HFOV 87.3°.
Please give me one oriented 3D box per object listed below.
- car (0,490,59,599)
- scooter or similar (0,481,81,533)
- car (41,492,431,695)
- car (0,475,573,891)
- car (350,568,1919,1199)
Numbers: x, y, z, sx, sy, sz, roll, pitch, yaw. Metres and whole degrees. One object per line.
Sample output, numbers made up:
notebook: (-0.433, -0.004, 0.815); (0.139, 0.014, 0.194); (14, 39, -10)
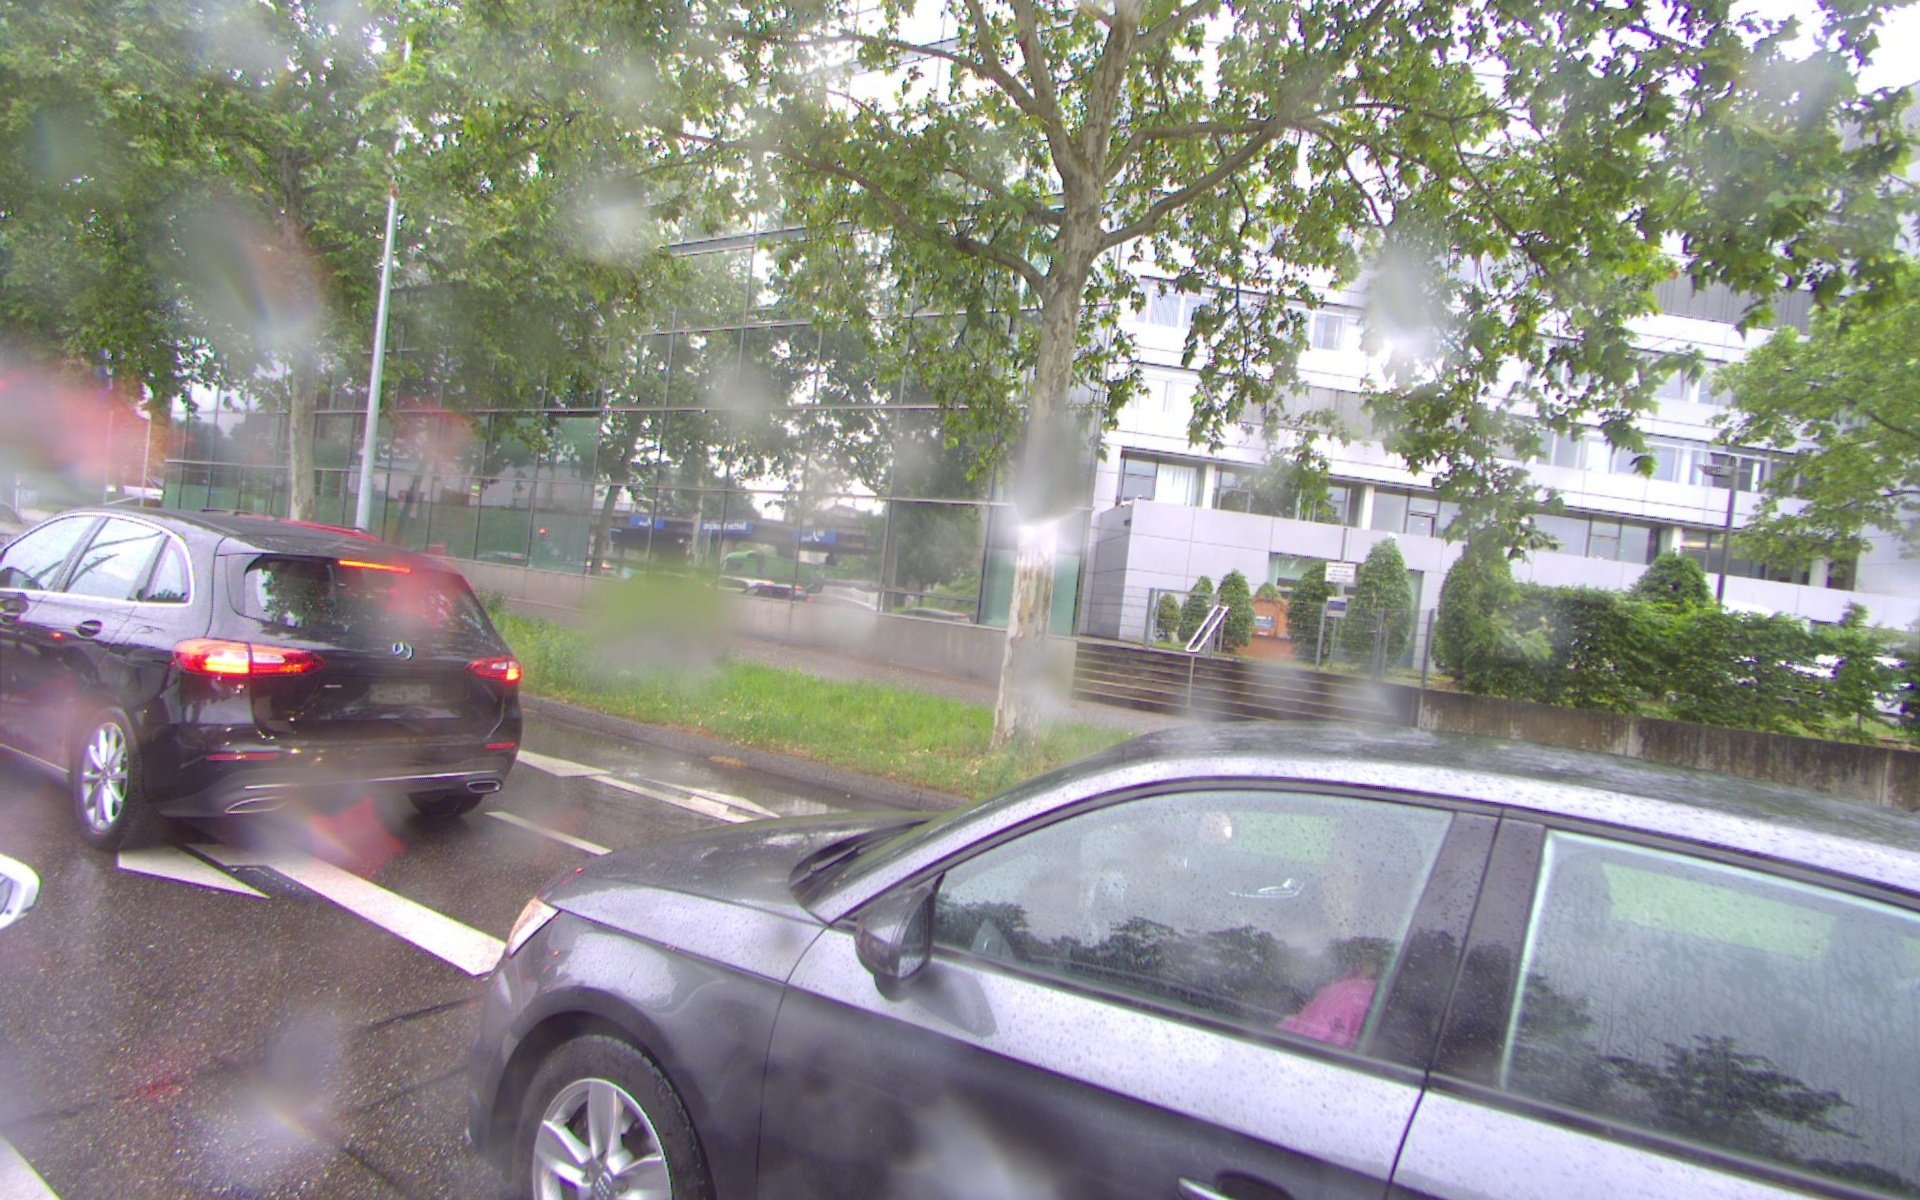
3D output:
car: (-16.744, -1.134, 16.414); (3.933, 1.631, 1.880); (7, -2, 32)
scooter or similar: (-54.530, -5.517, 58.147); (5.228, 2.476, 1.893); (7, 0, -9)
car: (-8.030, -0.102, 11.098); (4.198, 1.714, 1.715); (6, -2, 29)
car: (-4.351, 0.245, 5.755); (4.022, 1.573, 1.751); (7, -1, 31)
car: (0.634, 0.903, 2.138); (3.718, 1.445, 1.679); (7, -1, 31)
